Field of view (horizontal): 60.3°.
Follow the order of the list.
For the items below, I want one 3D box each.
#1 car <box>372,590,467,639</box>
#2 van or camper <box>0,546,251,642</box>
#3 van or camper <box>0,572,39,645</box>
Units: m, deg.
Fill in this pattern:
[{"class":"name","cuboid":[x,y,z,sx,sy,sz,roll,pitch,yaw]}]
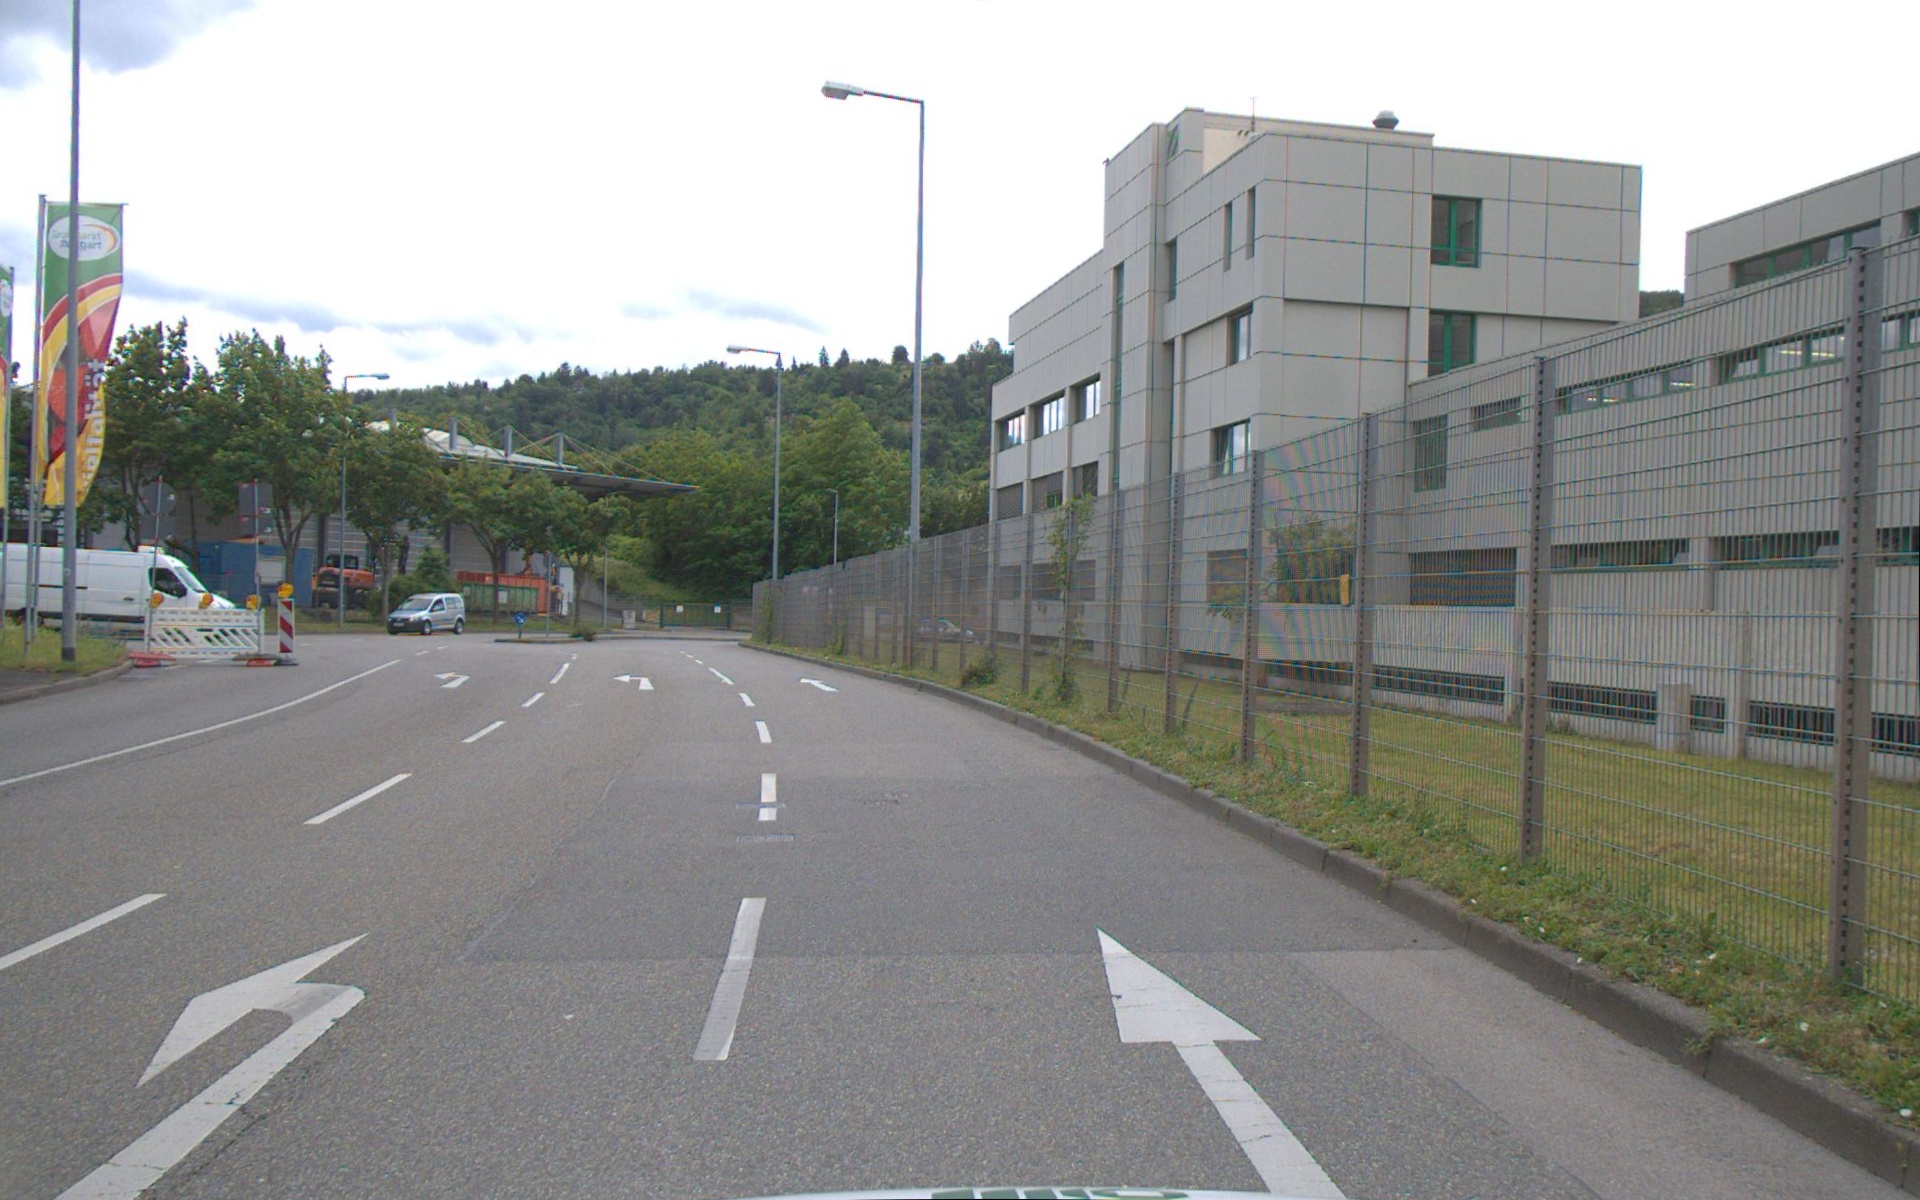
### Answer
[{"class":"car","cuboid":[-23.805,0.643,73.038,1.951,2.049,4.134,2,0,16]},{"class":"van or camper","cuboid":[-23.513,-0.136,46.721,5.877,2.286,2.390,4,-1,-11]},{"class":"van or camper","cuboid":[-34.052,0.199,54.257,6.556,2.367,1.996,2,-1,-28]}]
